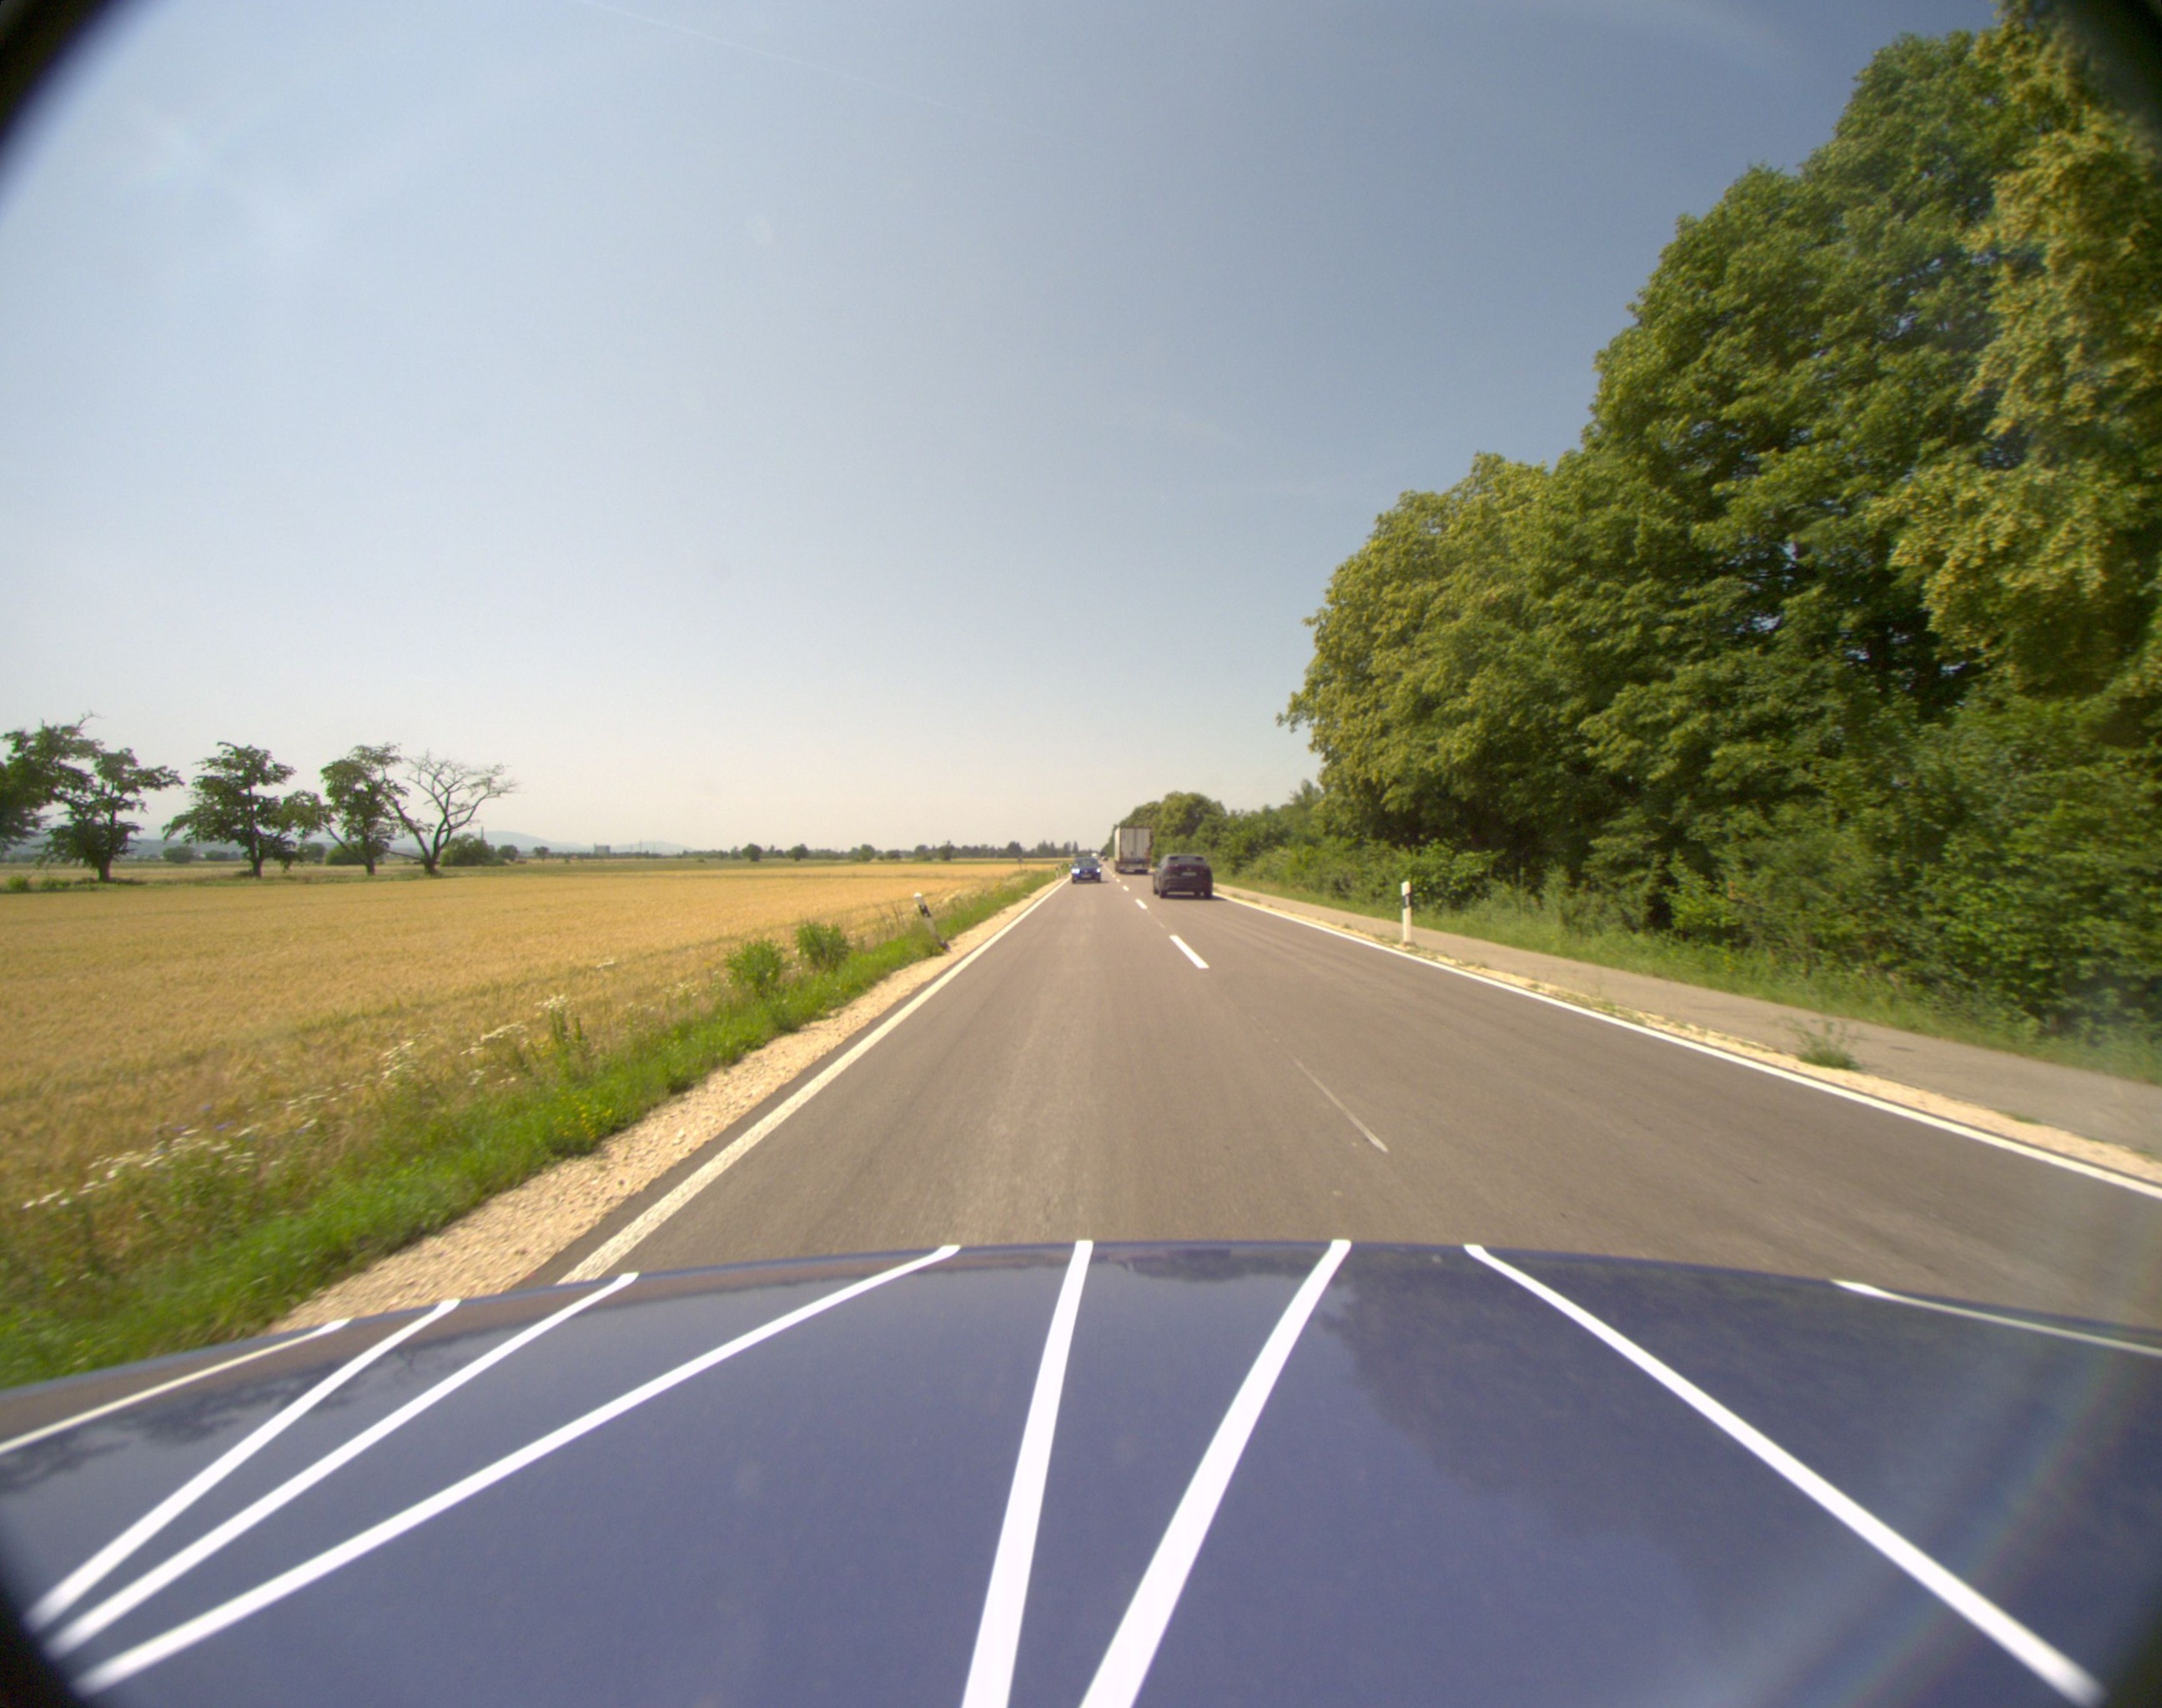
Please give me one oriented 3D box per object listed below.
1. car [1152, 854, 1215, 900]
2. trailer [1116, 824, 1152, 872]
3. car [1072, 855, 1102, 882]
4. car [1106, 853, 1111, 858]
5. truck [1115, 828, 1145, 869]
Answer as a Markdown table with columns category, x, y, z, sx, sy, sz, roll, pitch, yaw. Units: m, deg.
| category | x | y | z | sx | sy | sz | roll | pitch | yaw |
| --- | --- | --- | --- | --- | --- | --- | --- | --- | --- |
| car | 3.745 | 0.802 | 28.486 | 1.796 | 1.565 | 4.479 | 0 | 0 | 1 |
| trailer | 4.644 | -0.502 | 69.030 | 2.660 | 3.954 | 13.354 | 0 | 0 | 1 |
| car | 0.374 | 0.839 | 45.904 | 1.662 | 1.508 | 4.000 | -2 | 0 | 1 |
| car | 9.218 | 0.565 | 257.962 | 1.661 | 1.508 | 4.000 | -1 | 0 | 2 |
| truck | 4.796 | -0.521 | 75.562 | 2.662 | 3.954 | 5.727 | 0 | 0 | 1 |
